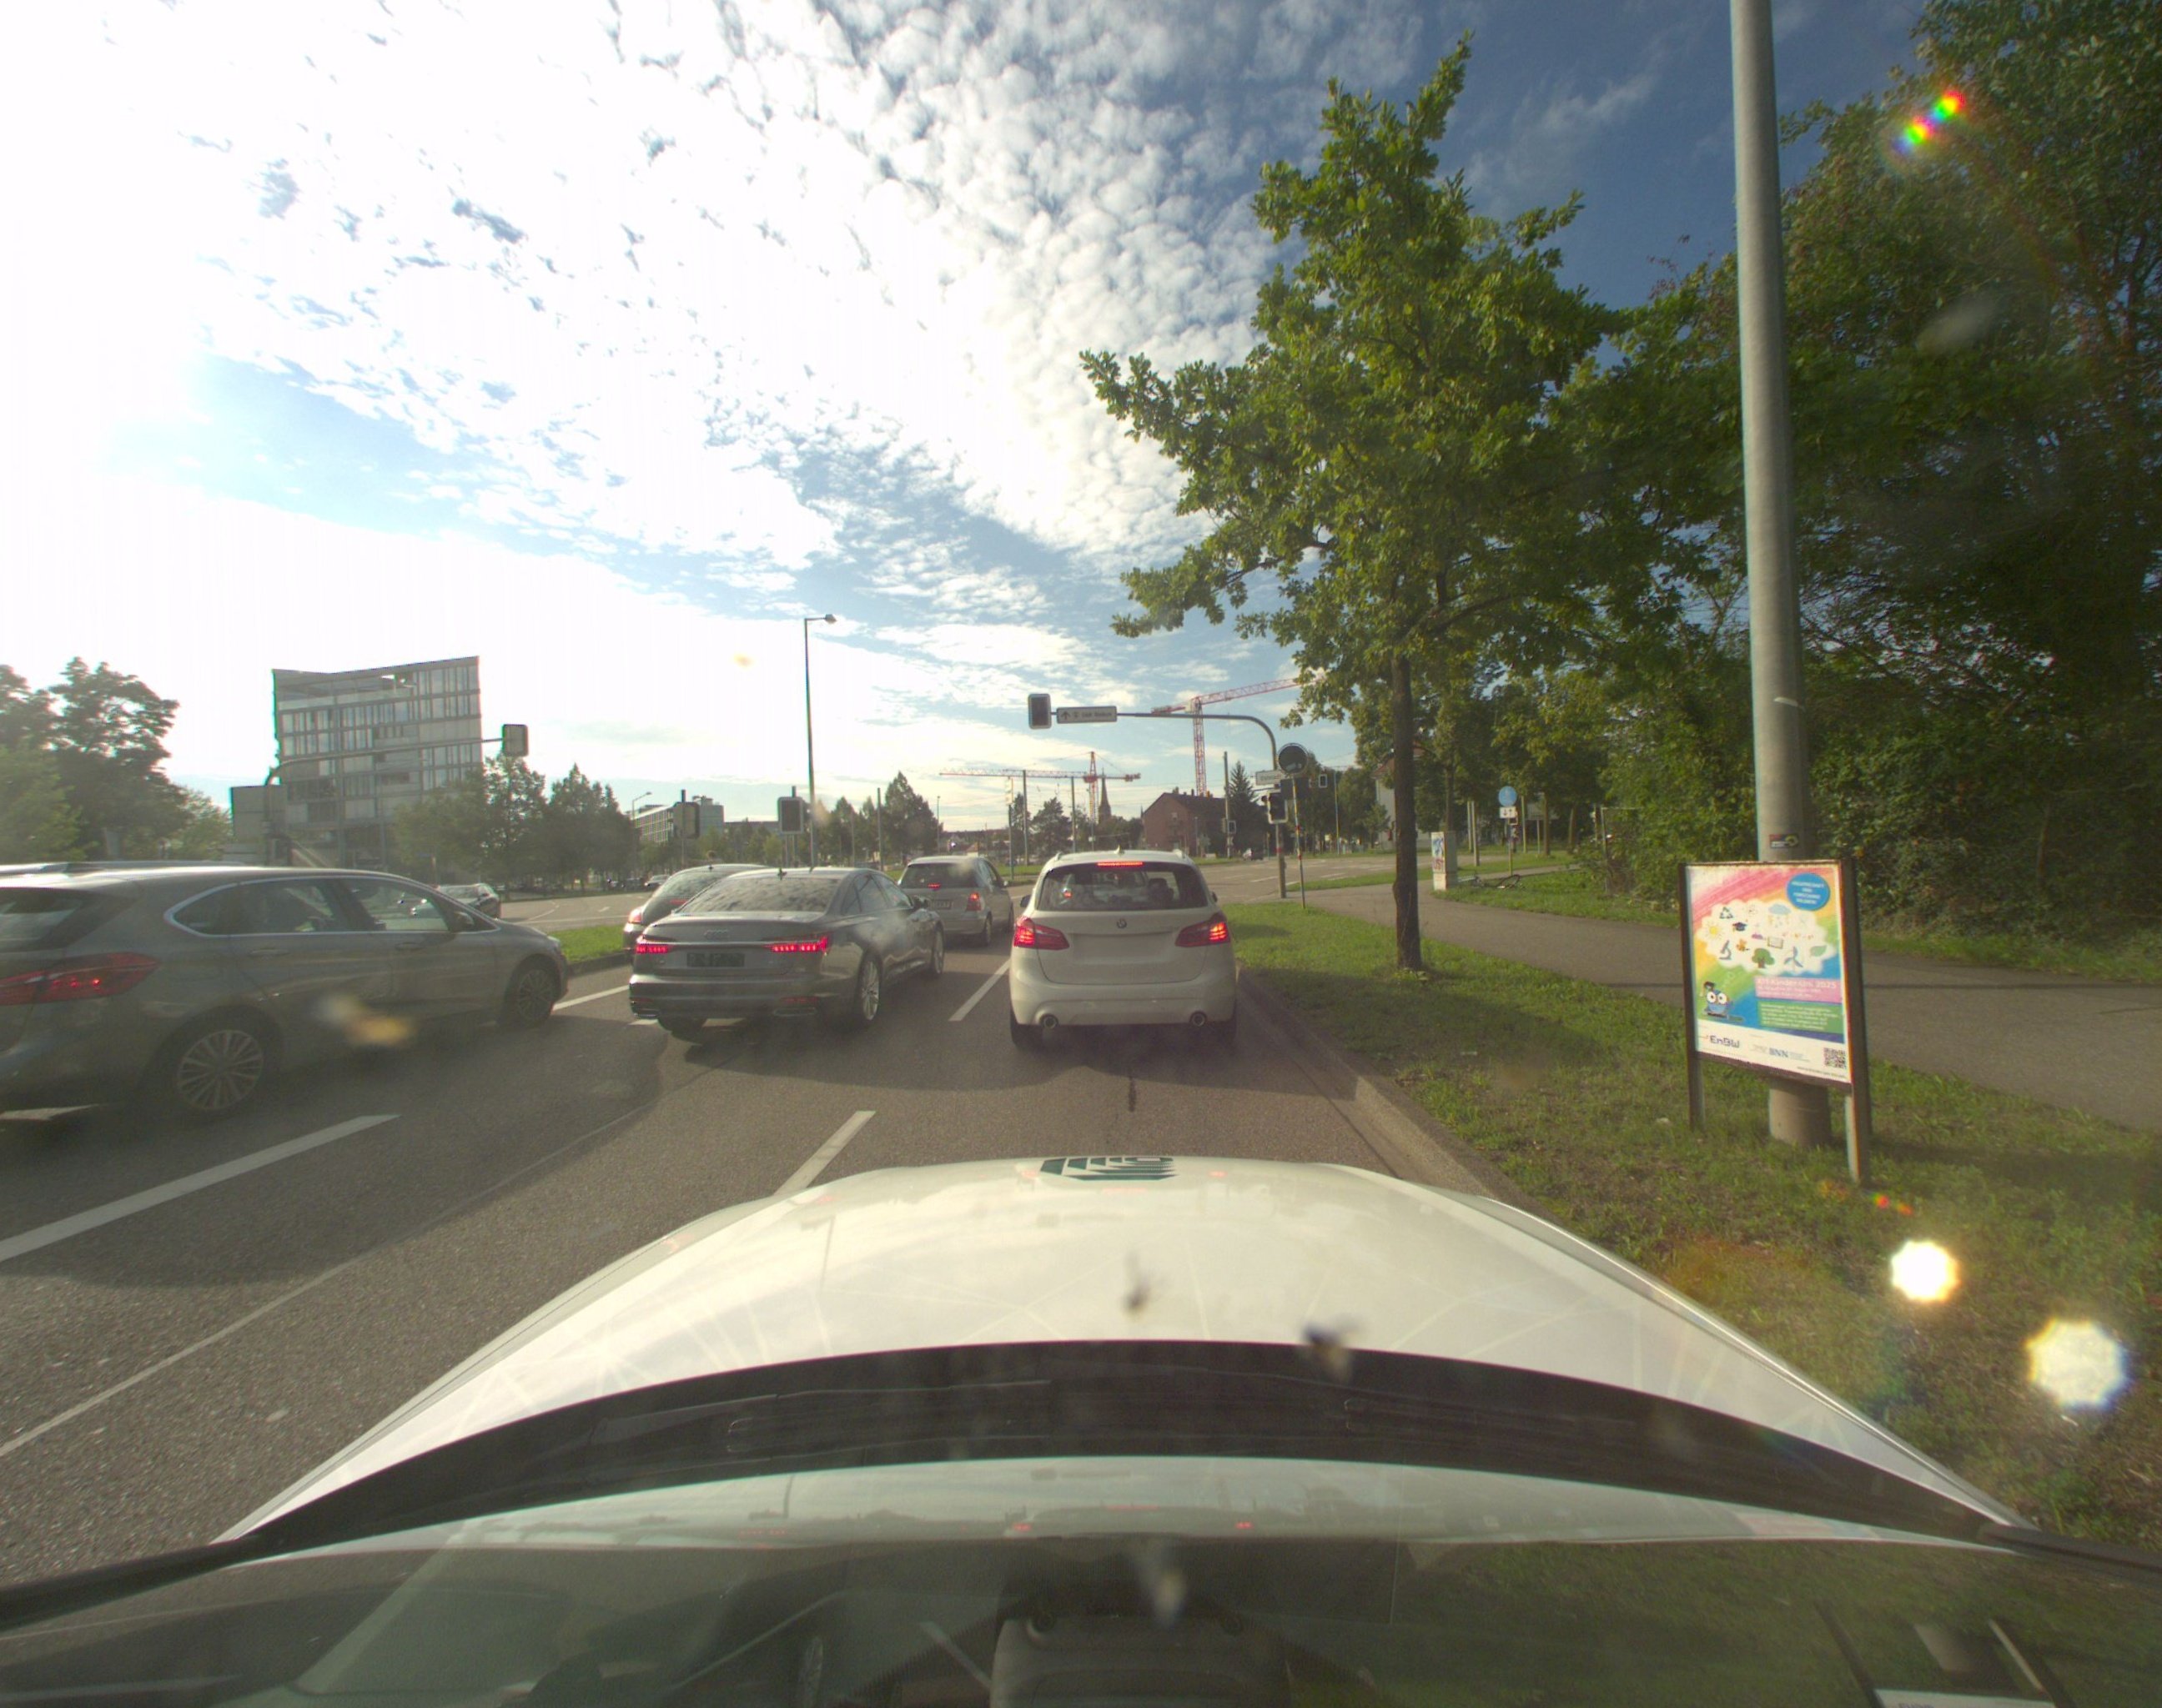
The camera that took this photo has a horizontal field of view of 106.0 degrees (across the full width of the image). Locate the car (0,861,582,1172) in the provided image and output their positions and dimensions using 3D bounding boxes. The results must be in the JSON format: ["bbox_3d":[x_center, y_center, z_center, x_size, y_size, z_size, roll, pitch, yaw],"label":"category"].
[{"bbox_3d":[-5.965,0.865,6.187,1.722,1.558,4.021,-1,0,2],"label":"car"}]

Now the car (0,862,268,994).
[{"bbox_3d":[-19.655,1.354,15.876,1.991,2.235,5.911,-4,0,-6],"label":"car"}]

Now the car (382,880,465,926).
[{"bbox_3d":[-23.093,1.677,28.757,1.922,1.434,4.182,-2,-1,-35],"label":"car"}]

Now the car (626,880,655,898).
[{"bbox_3d":[-45.691,3.613,84.553,1.790,1.575,3.978,-3,0,-16],"label":"car"}]

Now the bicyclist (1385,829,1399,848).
[{"bbox_3d":[34.639,-1.694,90.633,0.824,2.014,1.213,0,-2,-28],"label":"bicyclist"}]

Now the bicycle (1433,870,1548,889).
[{"bbox_3d":[10.468,0.636,20.964,1.407,0.385,2.568,-3,0,-9],"label":"bicycle"}]

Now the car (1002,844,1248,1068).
[{"bbox_3d":[0.371,0.730,7.835,1.723,1.558,4.059,-1,0,2],"label":"car"}]

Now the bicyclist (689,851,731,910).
[{"bbox_3d":[-10.061,0.721,22.094,0.850,1.526,0.737,-3,-1,-15],"label":"bicyclist"}]

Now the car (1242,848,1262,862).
[{"bbox_3d":[20.669,0.160,98.371,1.566,1.574,3.196,-3,0,-2],"label":"car"}]

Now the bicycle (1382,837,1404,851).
[{"bbox_3d":[34.662,-1.103,90.590,0.898,1.530,2.268,0,-2,-28],"label":"bicycle"}]

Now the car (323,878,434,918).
[{"bbox_3d":[-36.505,2.273,42.415,3.991,1.769,1.704,-3,0,-13],"label":"car"}]

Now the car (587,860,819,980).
[{"bbox_3d":[-5.535,0.871,12.496,1.674,1.523,3.811,-1,0,1],"label":"car"}]

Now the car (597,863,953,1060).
[{"bbox_3d":[-2.745,0.856,8.628,1.883,1.483,4.614,-1,-1,2],"label":"car"}]

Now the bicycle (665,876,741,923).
[{"bbox_3d":[-10.217,1.213,22.044,1.728,1.163,0.652,-2,-1,-15],"label":"bicycle"}]

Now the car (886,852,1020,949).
[{"bbox_3d":[-2.254,0.767,15.416,1.722,1.558,4.060,-1,0,2],"label":"car"}]

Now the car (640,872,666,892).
[{"bbox_3d":[-36.686,2.356,69.891,1.715,1.574,3.966,-3,0,-25],"label":"car"}]

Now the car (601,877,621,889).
[{"bbox_3d":[-69.759,4.319,120.919,1.723,1.691,3.951,-2,-1,-42],"label":"car"}]
